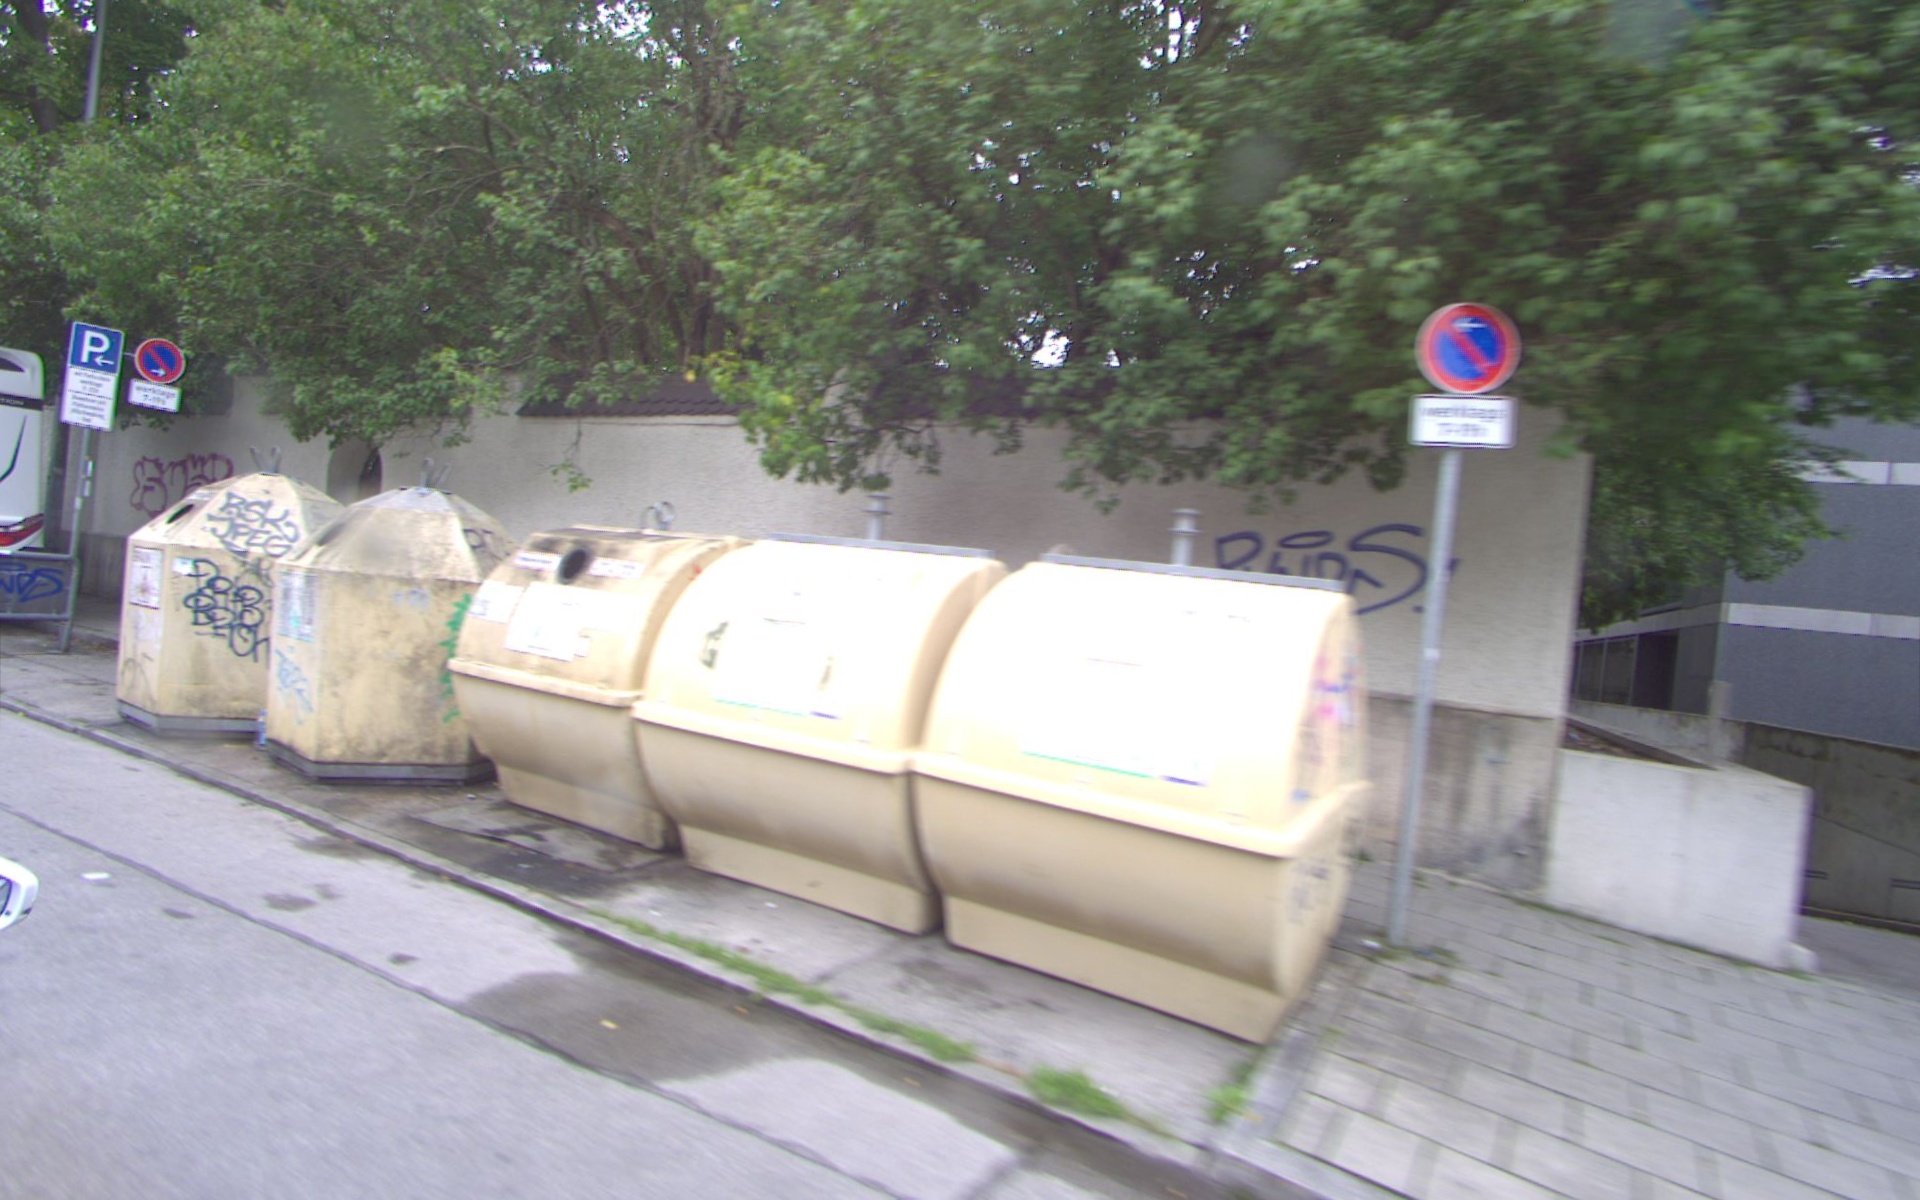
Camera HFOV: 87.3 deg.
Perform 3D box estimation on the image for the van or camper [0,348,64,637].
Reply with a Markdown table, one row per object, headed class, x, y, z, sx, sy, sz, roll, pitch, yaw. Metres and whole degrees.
| class | x | y | z | sx | sy | sz | roll | pitch | yaw |
| --- | --- | --- | --- | --- | --- | --- | --- | --- | --- |
| van or camper | -13.367 | -1.456 | 11.345 | 7.149 | 2.942 | 2.277 | 6 | 0 | 27 |
